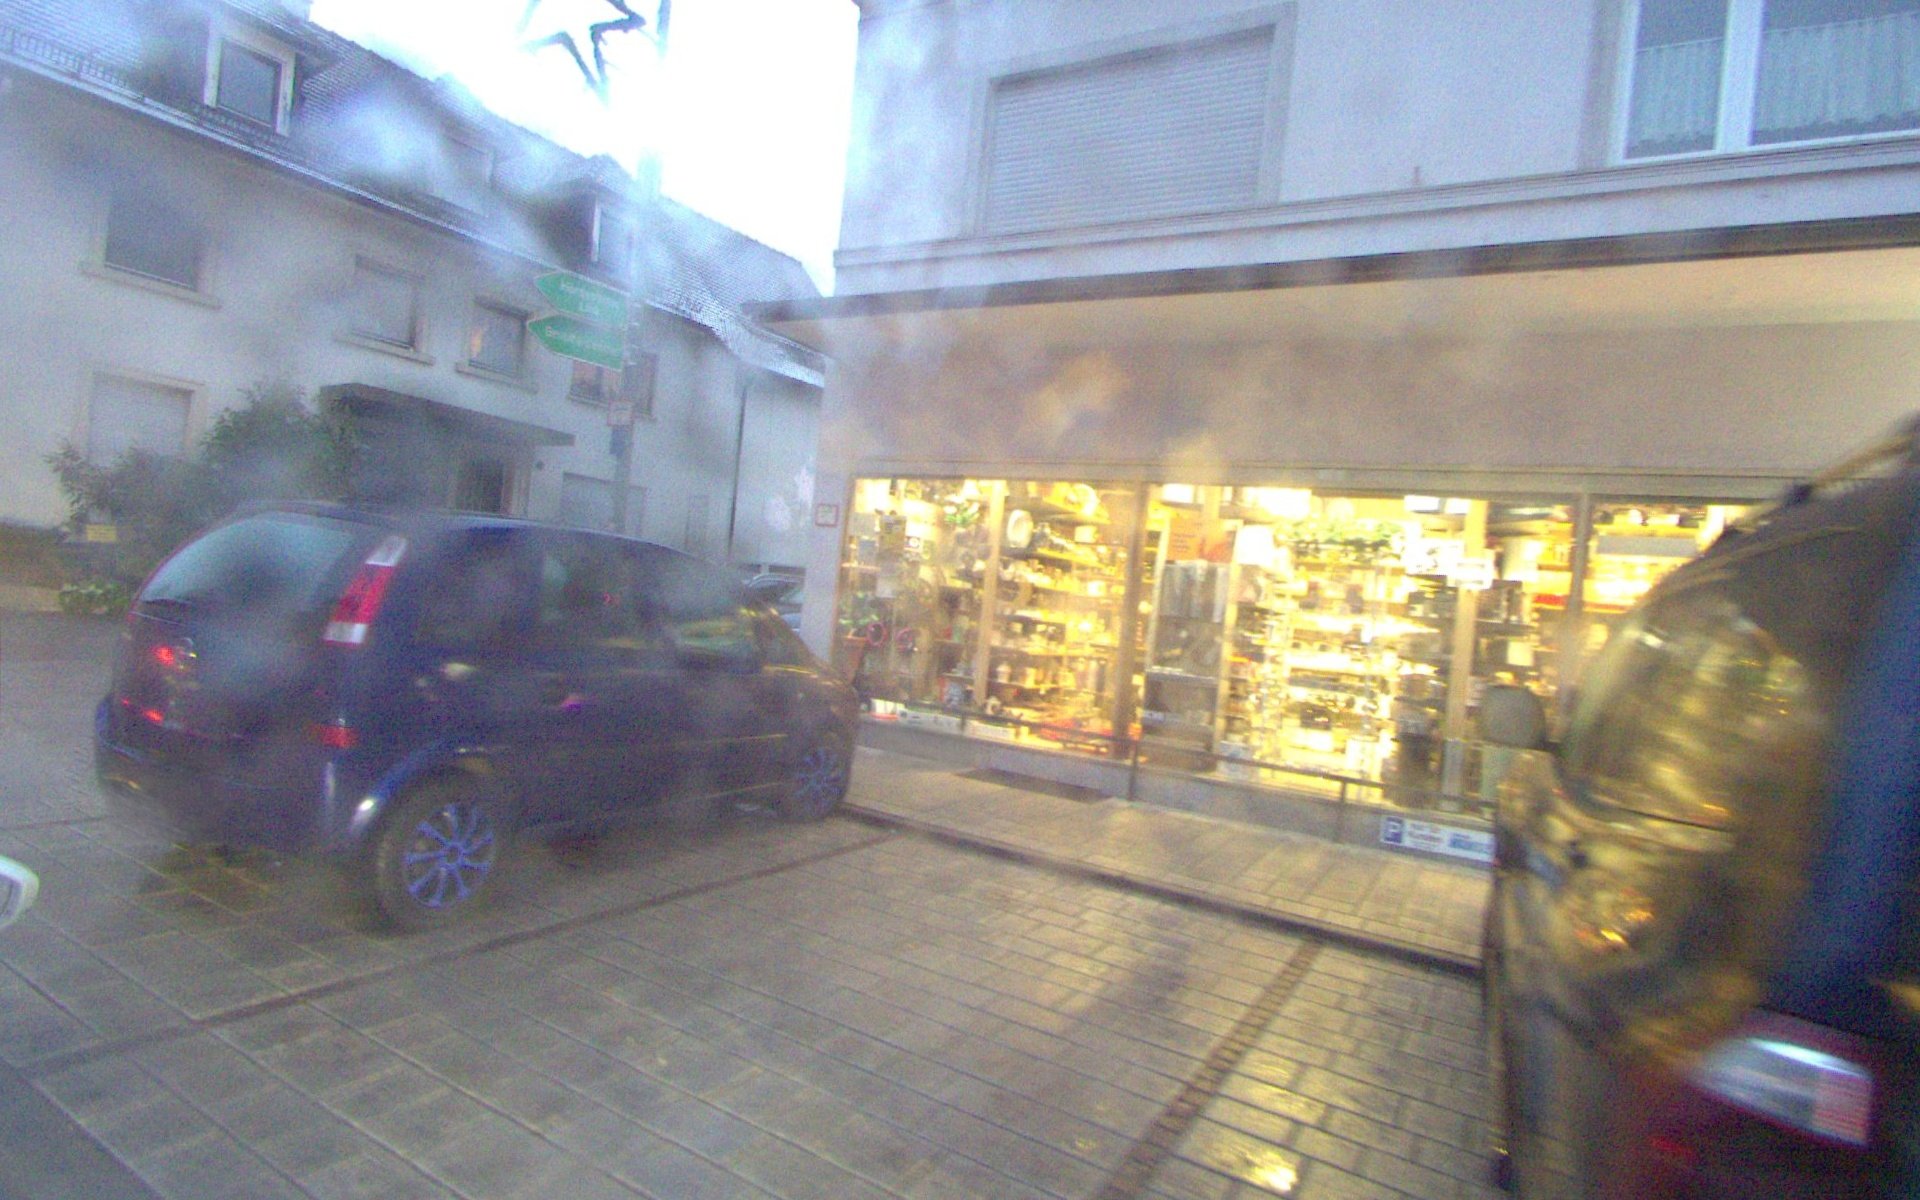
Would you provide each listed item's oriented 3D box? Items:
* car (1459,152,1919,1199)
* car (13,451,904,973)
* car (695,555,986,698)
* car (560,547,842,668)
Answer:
[{"bbox_3d":[2.315,0.826,2.300,1.911,1.798,4.612,7,1,27],"label":"car"},{"bbox_3d":[-2.031,0.399,5.275,1.652,1.599,3.877,7,0,26],"label":"car"},{"bbox_3d":[-1.529,0.409,14.292,1.967,1.590,3.991,6,0,31],"label":"car"},{"bbox_3d":[-3.942,0.185,15.934,1.905,1.543,3.989,6,0,33],"label":"car"}]
